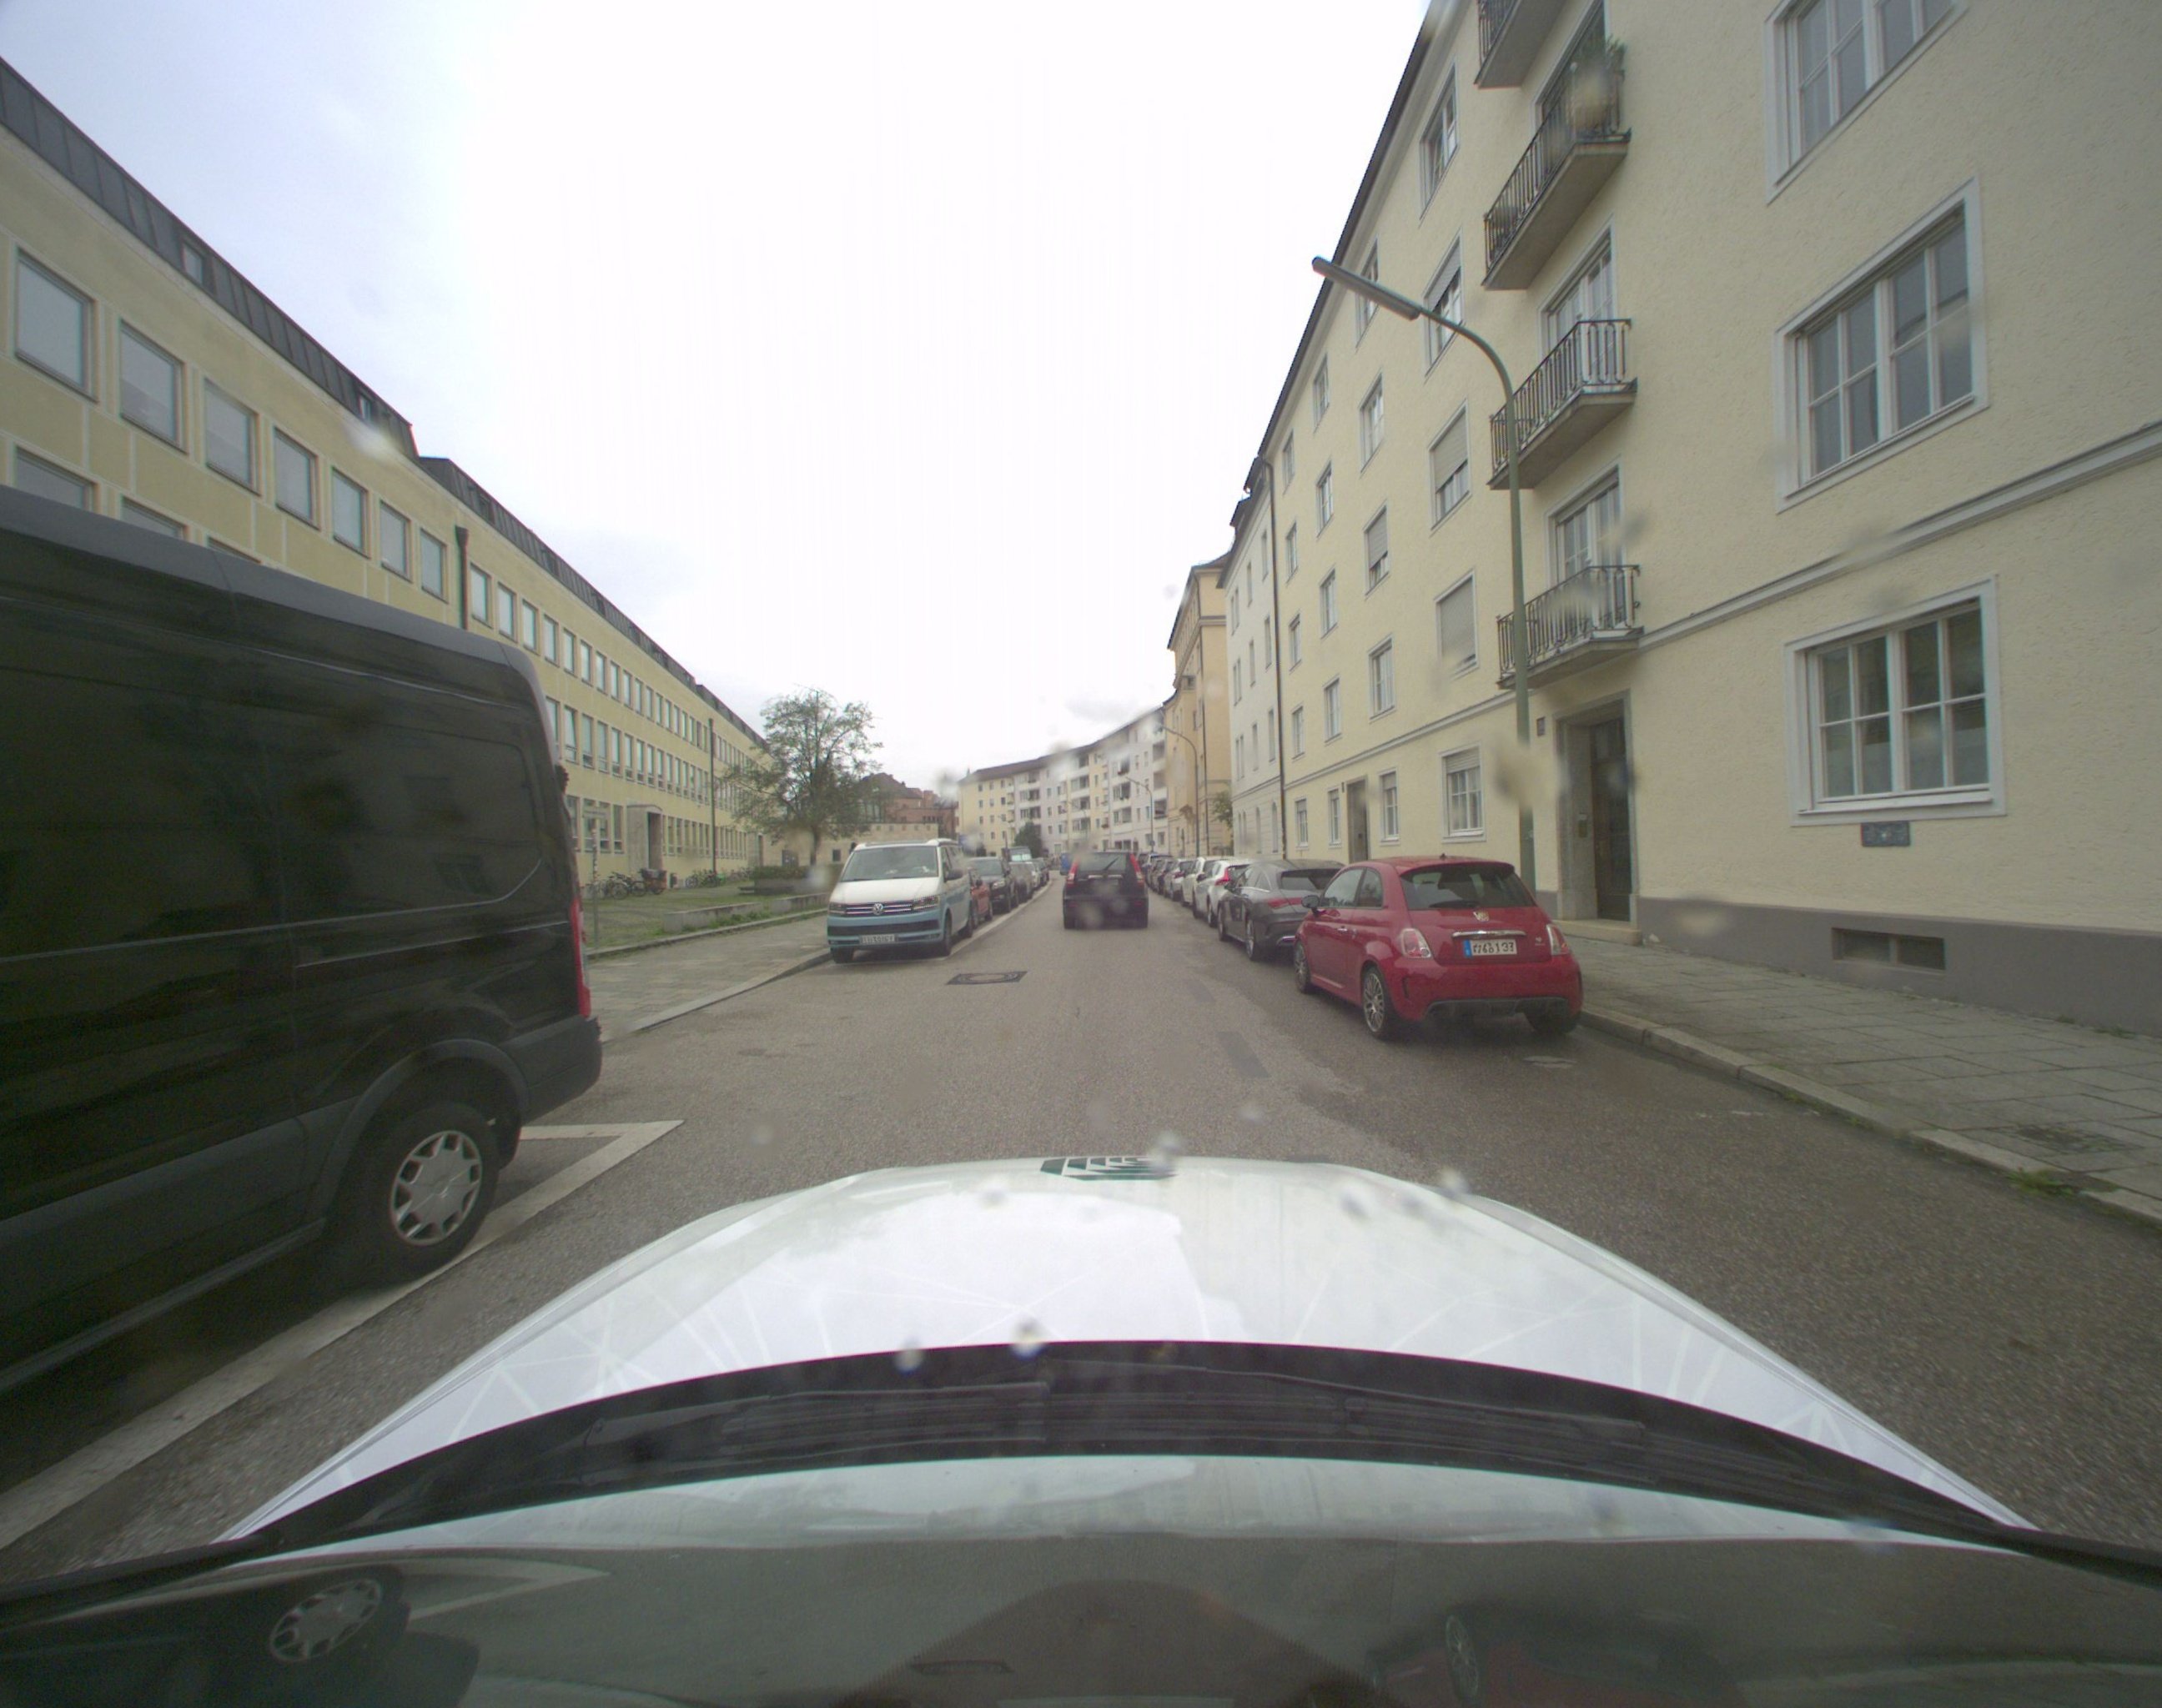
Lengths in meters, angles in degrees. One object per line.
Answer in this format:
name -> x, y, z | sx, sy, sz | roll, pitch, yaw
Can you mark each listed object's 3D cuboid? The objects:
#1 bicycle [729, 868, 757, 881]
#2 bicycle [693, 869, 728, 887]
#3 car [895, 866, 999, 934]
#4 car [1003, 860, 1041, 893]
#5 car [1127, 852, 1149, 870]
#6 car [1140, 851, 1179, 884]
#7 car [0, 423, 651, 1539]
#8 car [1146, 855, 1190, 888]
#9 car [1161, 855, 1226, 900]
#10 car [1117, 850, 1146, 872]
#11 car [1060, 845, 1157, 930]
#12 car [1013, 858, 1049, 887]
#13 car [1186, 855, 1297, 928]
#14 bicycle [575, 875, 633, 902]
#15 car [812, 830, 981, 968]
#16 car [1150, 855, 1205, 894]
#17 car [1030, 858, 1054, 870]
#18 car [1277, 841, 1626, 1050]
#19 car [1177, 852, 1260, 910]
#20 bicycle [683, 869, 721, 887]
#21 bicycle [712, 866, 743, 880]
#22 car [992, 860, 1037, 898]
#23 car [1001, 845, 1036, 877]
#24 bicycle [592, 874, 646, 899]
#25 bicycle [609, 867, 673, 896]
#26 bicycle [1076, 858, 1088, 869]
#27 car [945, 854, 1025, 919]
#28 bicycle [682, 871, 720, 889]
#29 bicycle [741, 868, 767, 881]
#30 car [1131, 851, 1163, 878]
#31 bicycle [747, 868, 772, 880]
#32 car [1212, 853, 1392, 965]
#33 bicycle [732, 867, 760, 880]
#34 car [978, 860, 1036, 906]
bicycle -> -27.315, 1.660, 65.831 | 1.946, 1.014, 0.623 | -2, 0, -10
bicycle -> -23.605, 1.522, 51.907 | 1.949, 1.014, 0.623 | -2, 0, -13
car -> -3.098, 1.017, 19.584 | 1.737, 1.387, 3.919 | -1, 0, 1
car -> -2.945, 1.088, 41.331 | 1.652, 1.453, 4.070 | -4, 0, -2
car -> 4.572, 0.560, 65.807 | 1.701, 1.447, 3.832 | -1, 0, 2
car -> 4.165, 0.698, 43.725 | 1.716, 1.634, 4.458 | -2, 0, 1
car -> -3.732, 0.331, 1.703 | 2.287, 2.645, 5.658 | -3, 0, 3
car -> 4.067, 0.795, 38.652 | 1.673, 1.427, 4.087 | -2, 0, 1
car -> 3.887, 0.786, 28.799 | 1.674, 1.427, 4.166 | -2, 0, 0
car -> 4.327, 0.620, 70.733 | 1.776, 1.807, 4.265 | 0, 0, -7
car -> 0.497, 0.689, 18.377 | 1.886, 1.647, 3.988 | -2, 0, -2
car -> -2.784, 1.020, 46.209 | 1.750, 1.453, 4.394 | -4, 0, -1
car -> 3.530, 0.769, 18.670 | 1.673, 1.410, 4.443 | -2, 0, 1
bicycle -> -19.748, 1.402, 33.721 | 1.951, 1.014, 0.622 | -2, 0, -16
car -> -3.099, 0.694, 14.839 | 1.923, 1.979, 5.020 | -3, 0, -1
car -> 3.884, 0.811, 33.381 | 1.674, 1.427, 4.390 | -2, 0, 0
car -> -5.135, 1.283, 107.557 | 1.733, 1.483, 3.965 | -1, 0, -27
car -> 3.214, 0.691, 7.970 | 1.673, 1.497, 3.824 | -2, 0, 1
car -> 3.870, 0.726, 23.557 | 1.674, 1.481, 4.166 | -2, 0, 0
bicycle -> -22.933, 1.462, 49.299 | 1.949, 1.014, 0.623 | -2, 0, -13
bicycle -> -25.835, 1.390, 59.594 | 1.944, 1.014, 0.624 | -2, 0, -6
car -> -2.826, 1.041, 35.497 | 1.652, 1.453, 3.971 | -4, 0, -2
car -> -5.613, 0.621, 72.318 | 2.166, 2.641, 5.991 | -3, 0, -13
bicycle -> -20.425, 1.416, 36.004 | 1.951, 1.014, 0.622 | -2, 0, -16
bicycle -> -20.823, 1.300, 38.596 | 2.439, 1.248, 1.051 | -2, 0, -16
bicycle -> 0.102, 1.162, 102.701 | 0.970, 1.388, 2.551 | -1, 0, -14
car -> -2.846, 0.921, 25.091 | 1.738, 1.666, 4.449 | -5, 0, 1
bicycle -> -22.622, 1.529, 48.527 | 1.946, 1.014, 0.623 | -2, 0, -10
bicycle -> -27.656, 1.727, 68.915 | 1.949, 1.014, 0.622 | -2, 0, -14
car -> 4.298, 0.662, 53.723 | 1.862, 1.717, 4.867 | -1, 0, 2
bicycle -> -27.734, 1.738, 70.337 | 1.953, 1.014, 0.621 | -2, 0, -20
car -> 3.252, 0.739, 12.895 | 1.673, 1.410, 4.422 | -2, 0, 1
bicycle -> -26.755, 1.568, 65.109 | 1.950, 1.014, 0.622 | -2, 0, -16
car -> -2.674, 1.020, 30.241 | 1.675, 1.453, 3.870 | -4, 0, 1
